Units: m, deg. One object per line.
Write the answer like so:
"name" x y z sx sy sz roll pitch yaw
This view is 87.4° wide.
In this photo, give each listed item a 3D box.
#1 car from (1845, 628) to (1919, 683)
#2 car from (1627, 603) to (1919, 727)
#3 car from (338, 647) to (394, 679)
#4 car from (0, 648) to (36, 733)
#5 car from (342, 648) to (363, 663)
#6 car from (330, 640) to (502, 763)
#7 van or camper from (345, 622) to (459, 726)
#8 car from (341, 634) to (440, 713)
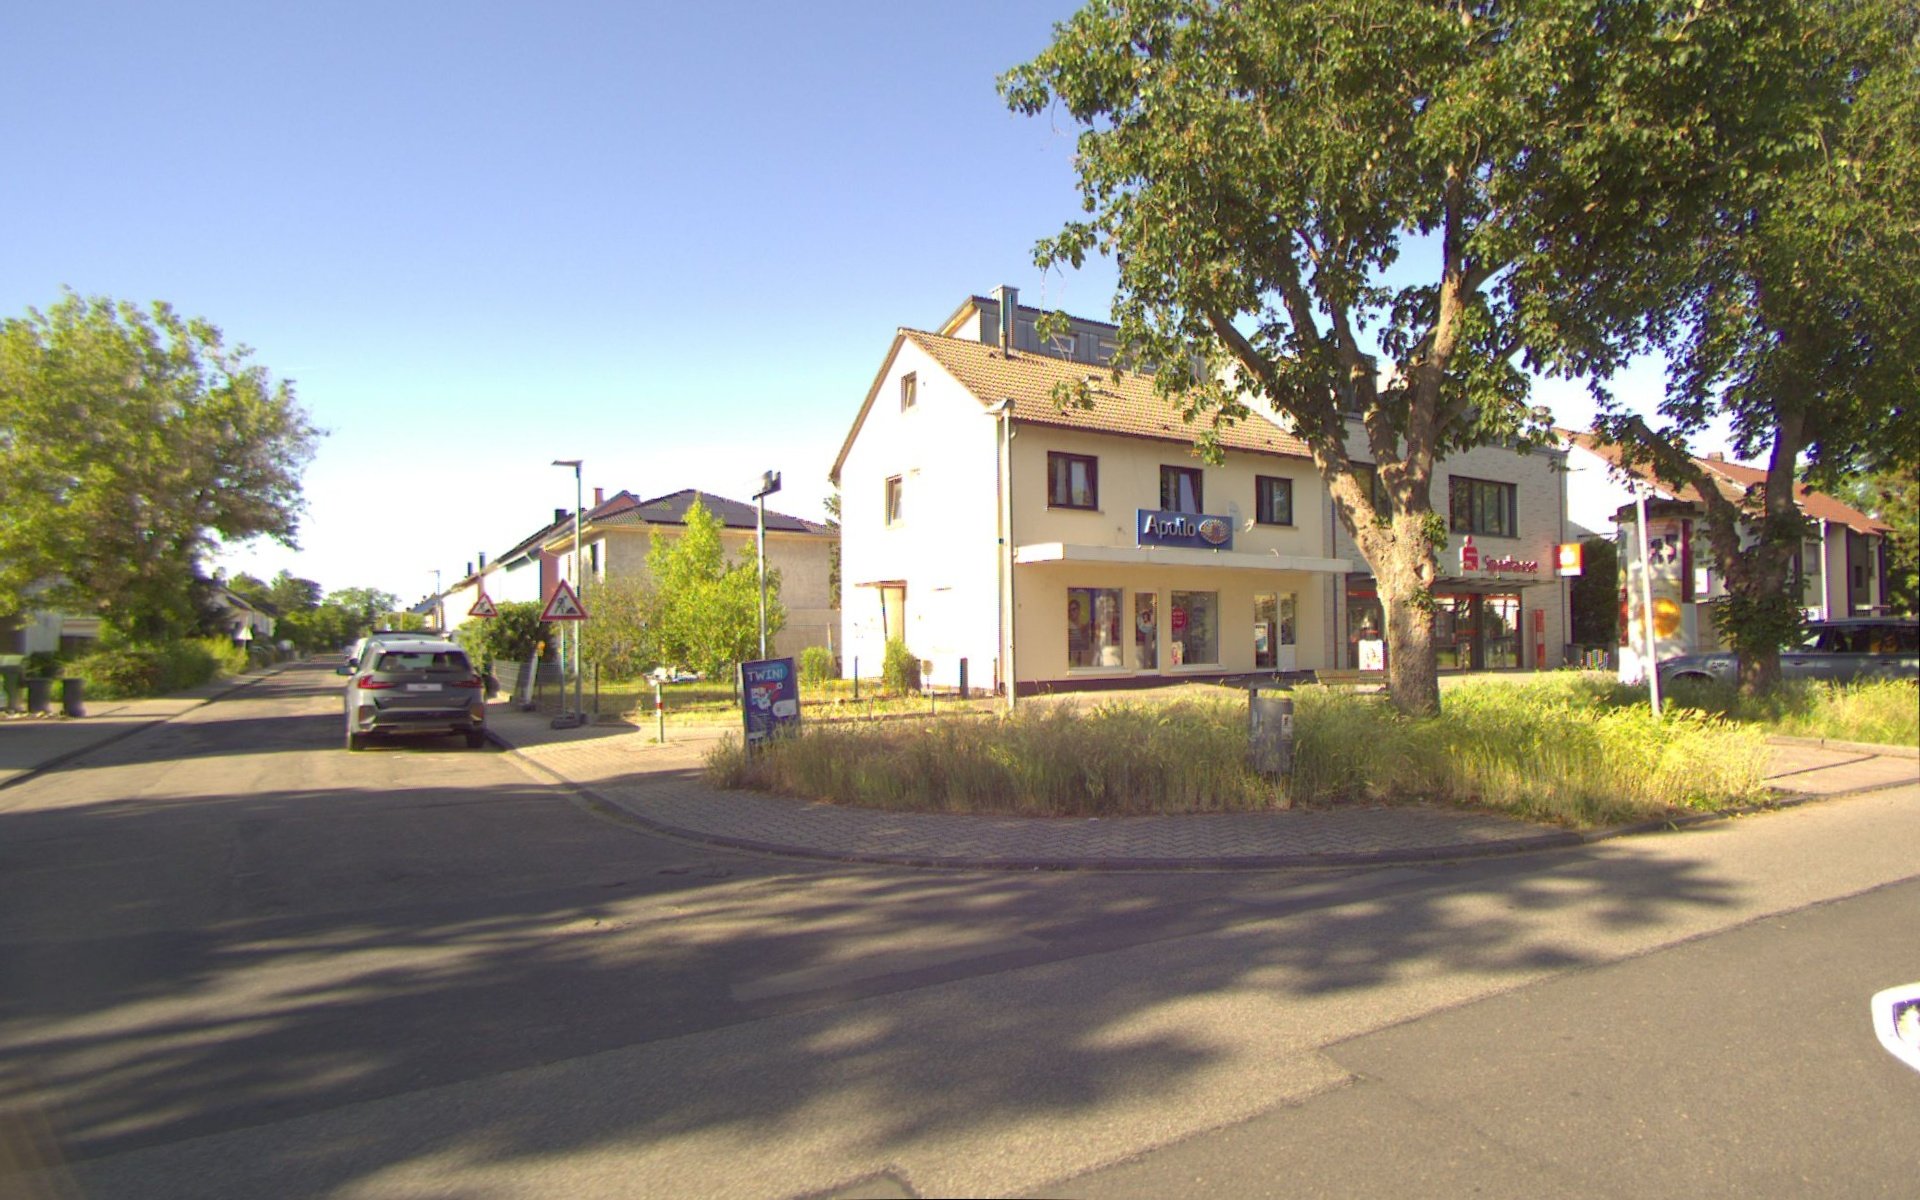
"car" 28.484 1.626 29.103 1.851 1.563 3.963 1 -1 -34
"car" 14.354 1.006 16.719 1.978 1.751 5.032 1 1 -32
"car" -29.810 3.100 50.336 1.981 1.504 4.860 1 -3 -36
"car" -20.147 1.612 18.241 4.622 1.548 1.861 4 -4 -34
"car" -69.753 6.371 115.424 1.819 1.601 3.985 2 -2 -29
"car" -8.659 1.499 15.825 1.980 1.659 3.963 1 -4 -34
"van or camper" -12.436 1.569 22.319 1.977 2.040 4.650 1 -3 -31
"car" -15.005 1.850 26.388 1.979 1.854 3.963 1 -2 -34
